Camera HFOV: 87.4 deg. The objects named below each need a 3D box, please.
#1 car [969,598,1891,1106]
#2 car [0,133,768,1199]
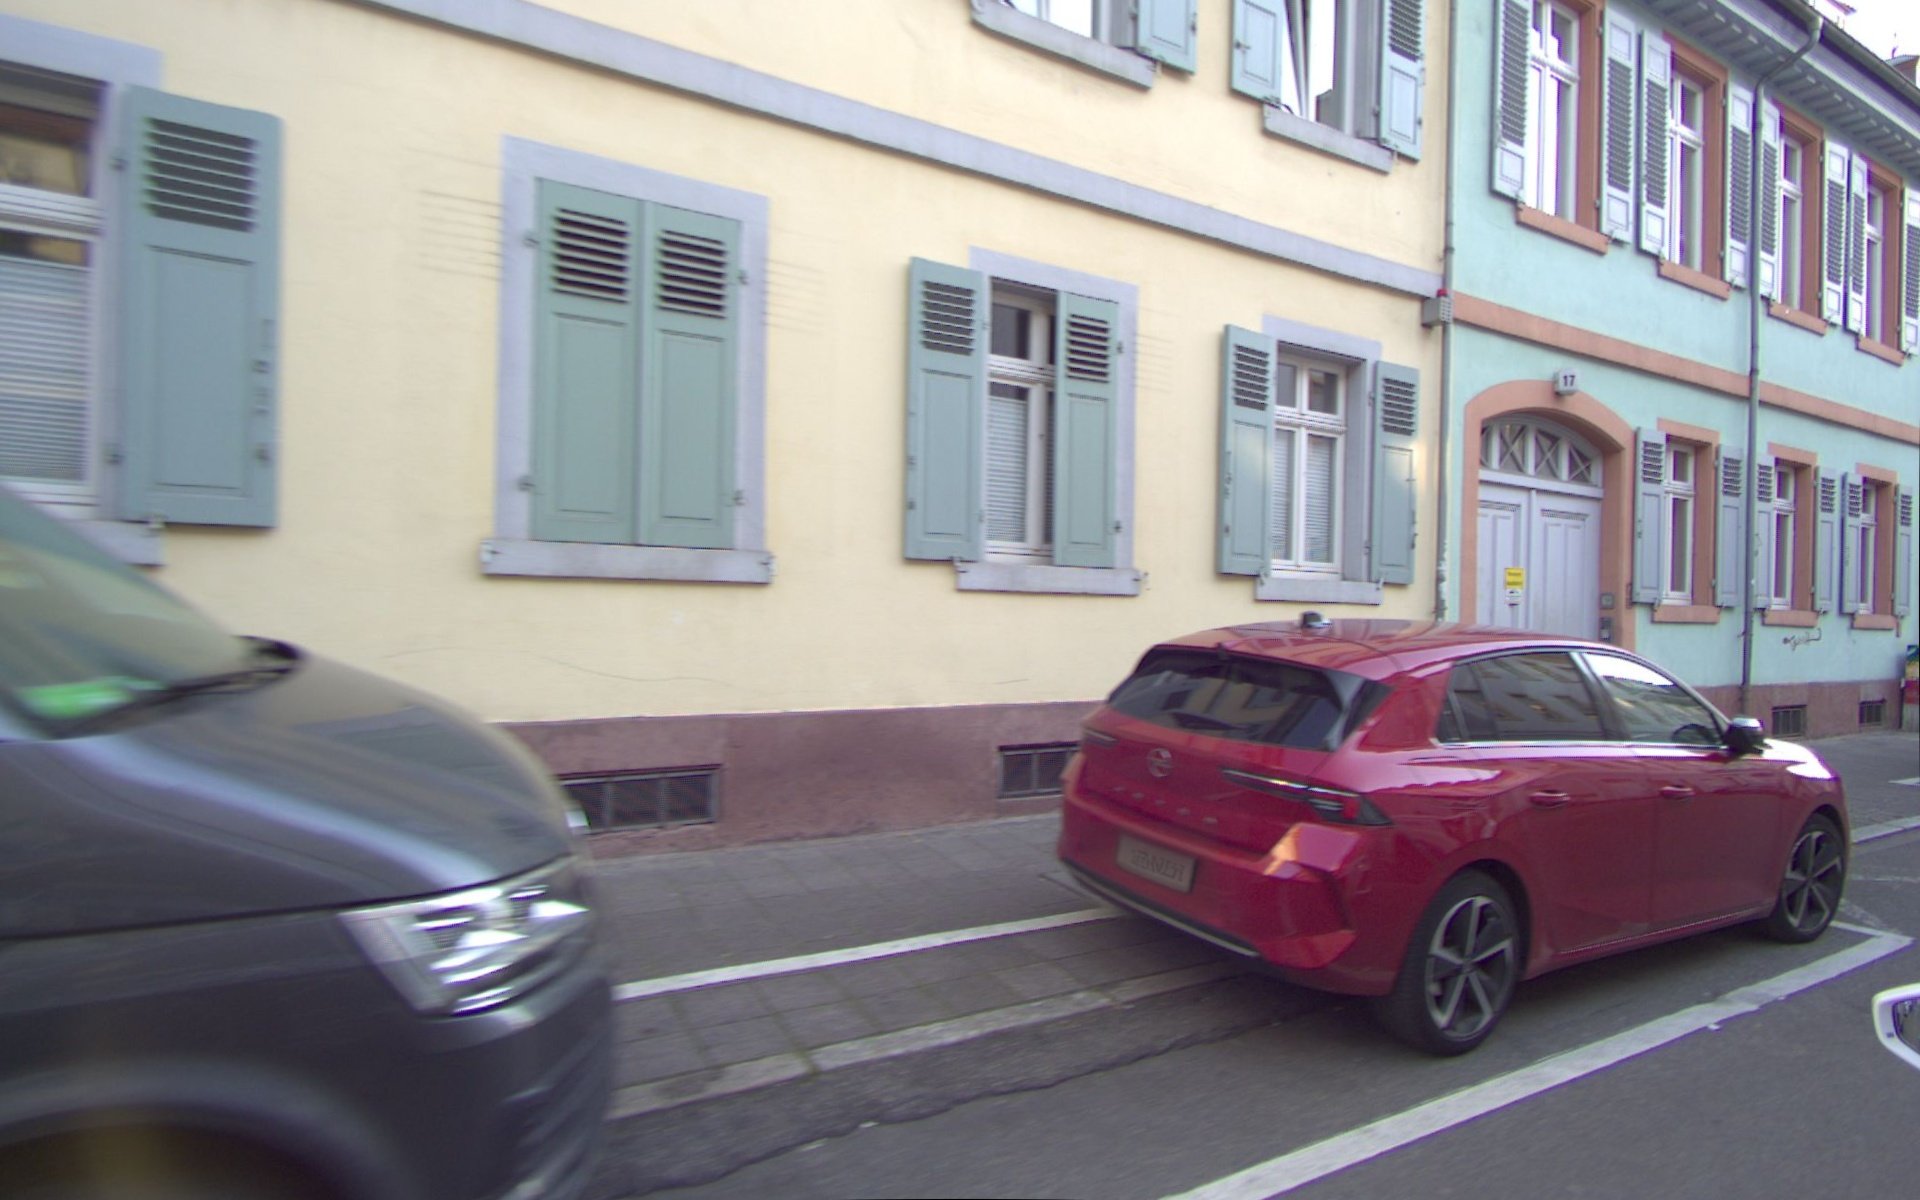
[{"bbox_3d":[2.303,0.762,4.643,4.212,1.420,1.757,2,0,-30],"label":"car"},{"bbox_3d":[-2.858,0.398,1.355,4.760,2.040,1.853,2,-1,-32],"label":"car"}]
